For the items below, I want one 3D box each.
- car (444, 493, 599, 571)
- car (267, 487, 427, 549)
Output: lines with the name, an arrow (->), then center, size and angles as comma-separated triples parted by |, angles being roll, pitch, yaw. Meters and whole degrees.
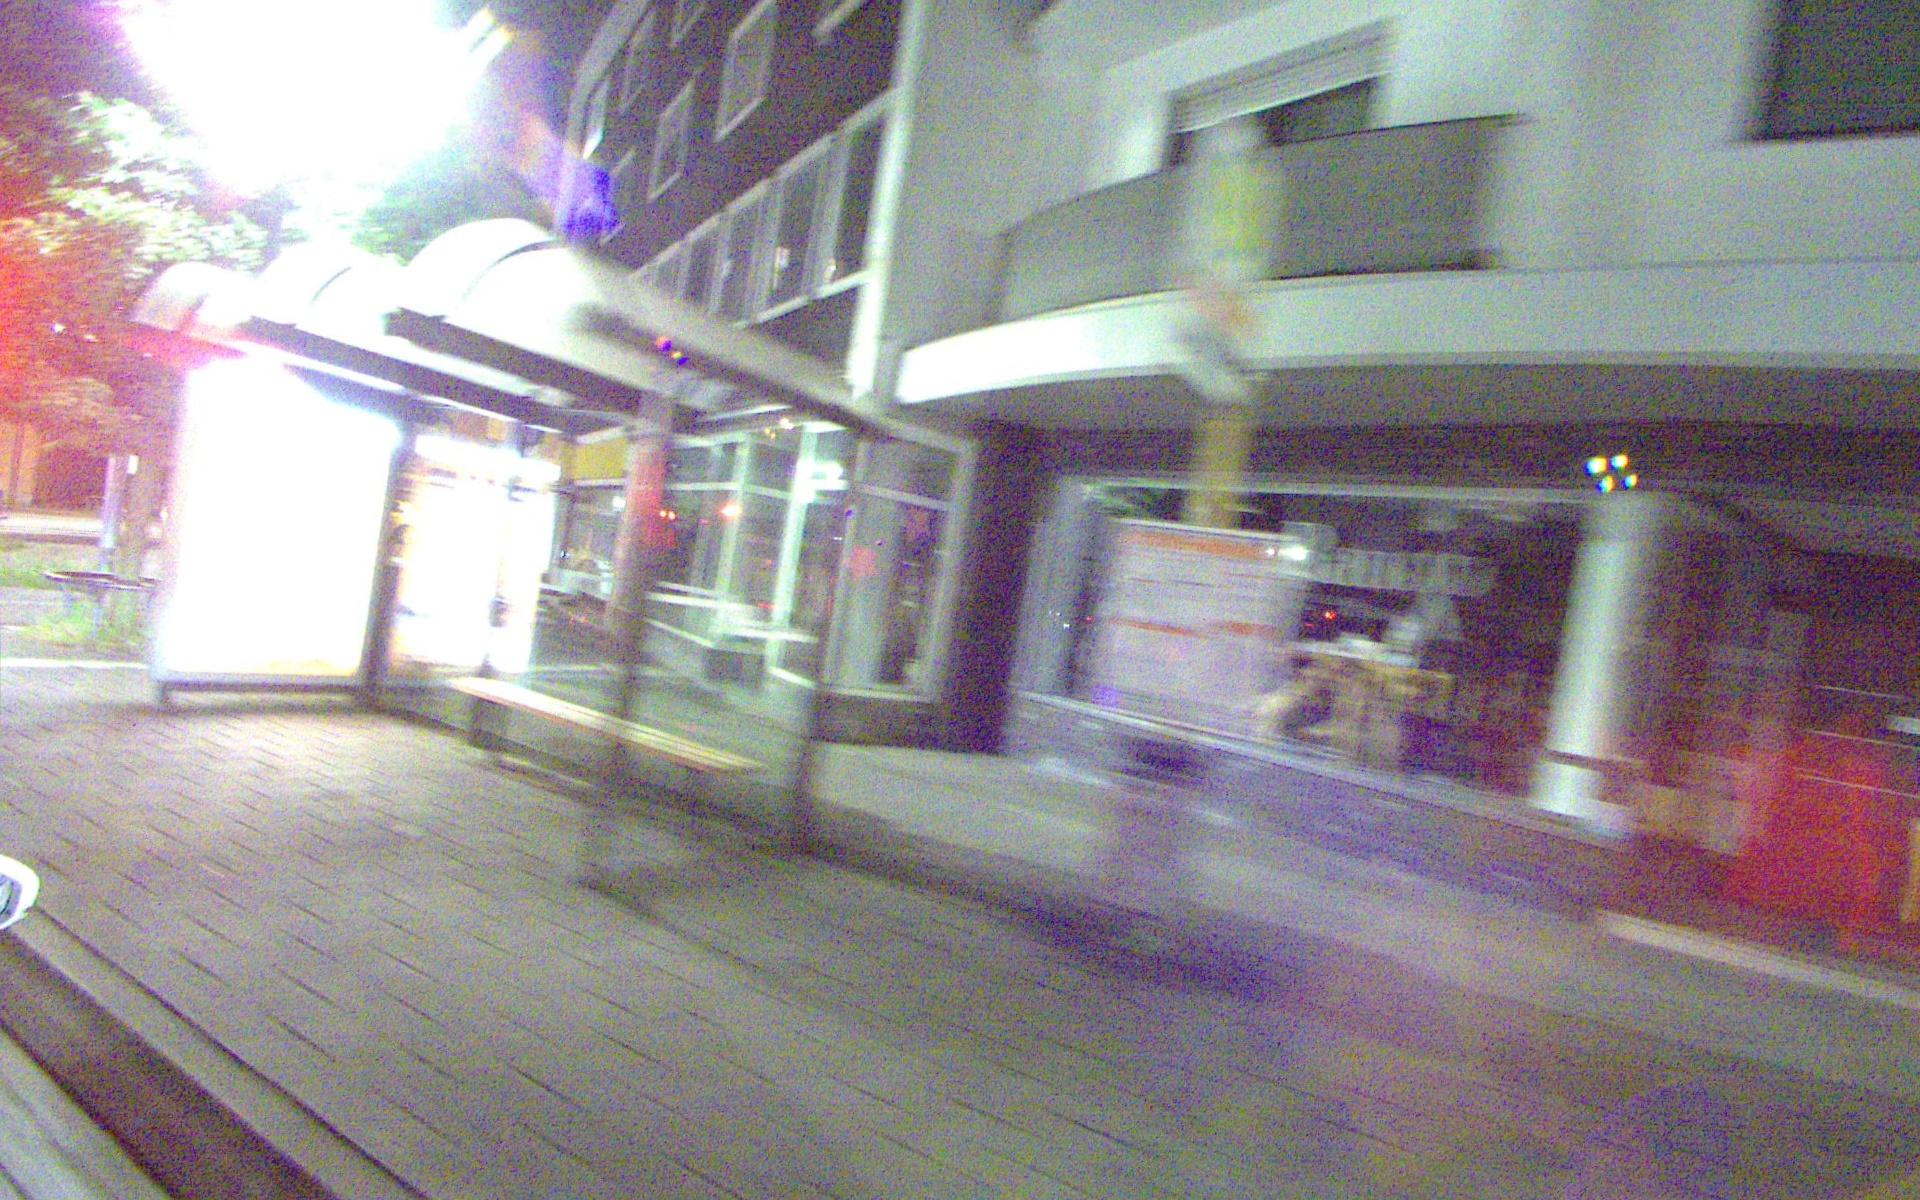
car -> -15.579, -2.372, 35.980 | 4.783, 1.932, 2.148 | 8, -2, -23
car -> -19.931, -2.648, 32.823 | 1.798, 1.472, 4.036 | 8, 2, 38
